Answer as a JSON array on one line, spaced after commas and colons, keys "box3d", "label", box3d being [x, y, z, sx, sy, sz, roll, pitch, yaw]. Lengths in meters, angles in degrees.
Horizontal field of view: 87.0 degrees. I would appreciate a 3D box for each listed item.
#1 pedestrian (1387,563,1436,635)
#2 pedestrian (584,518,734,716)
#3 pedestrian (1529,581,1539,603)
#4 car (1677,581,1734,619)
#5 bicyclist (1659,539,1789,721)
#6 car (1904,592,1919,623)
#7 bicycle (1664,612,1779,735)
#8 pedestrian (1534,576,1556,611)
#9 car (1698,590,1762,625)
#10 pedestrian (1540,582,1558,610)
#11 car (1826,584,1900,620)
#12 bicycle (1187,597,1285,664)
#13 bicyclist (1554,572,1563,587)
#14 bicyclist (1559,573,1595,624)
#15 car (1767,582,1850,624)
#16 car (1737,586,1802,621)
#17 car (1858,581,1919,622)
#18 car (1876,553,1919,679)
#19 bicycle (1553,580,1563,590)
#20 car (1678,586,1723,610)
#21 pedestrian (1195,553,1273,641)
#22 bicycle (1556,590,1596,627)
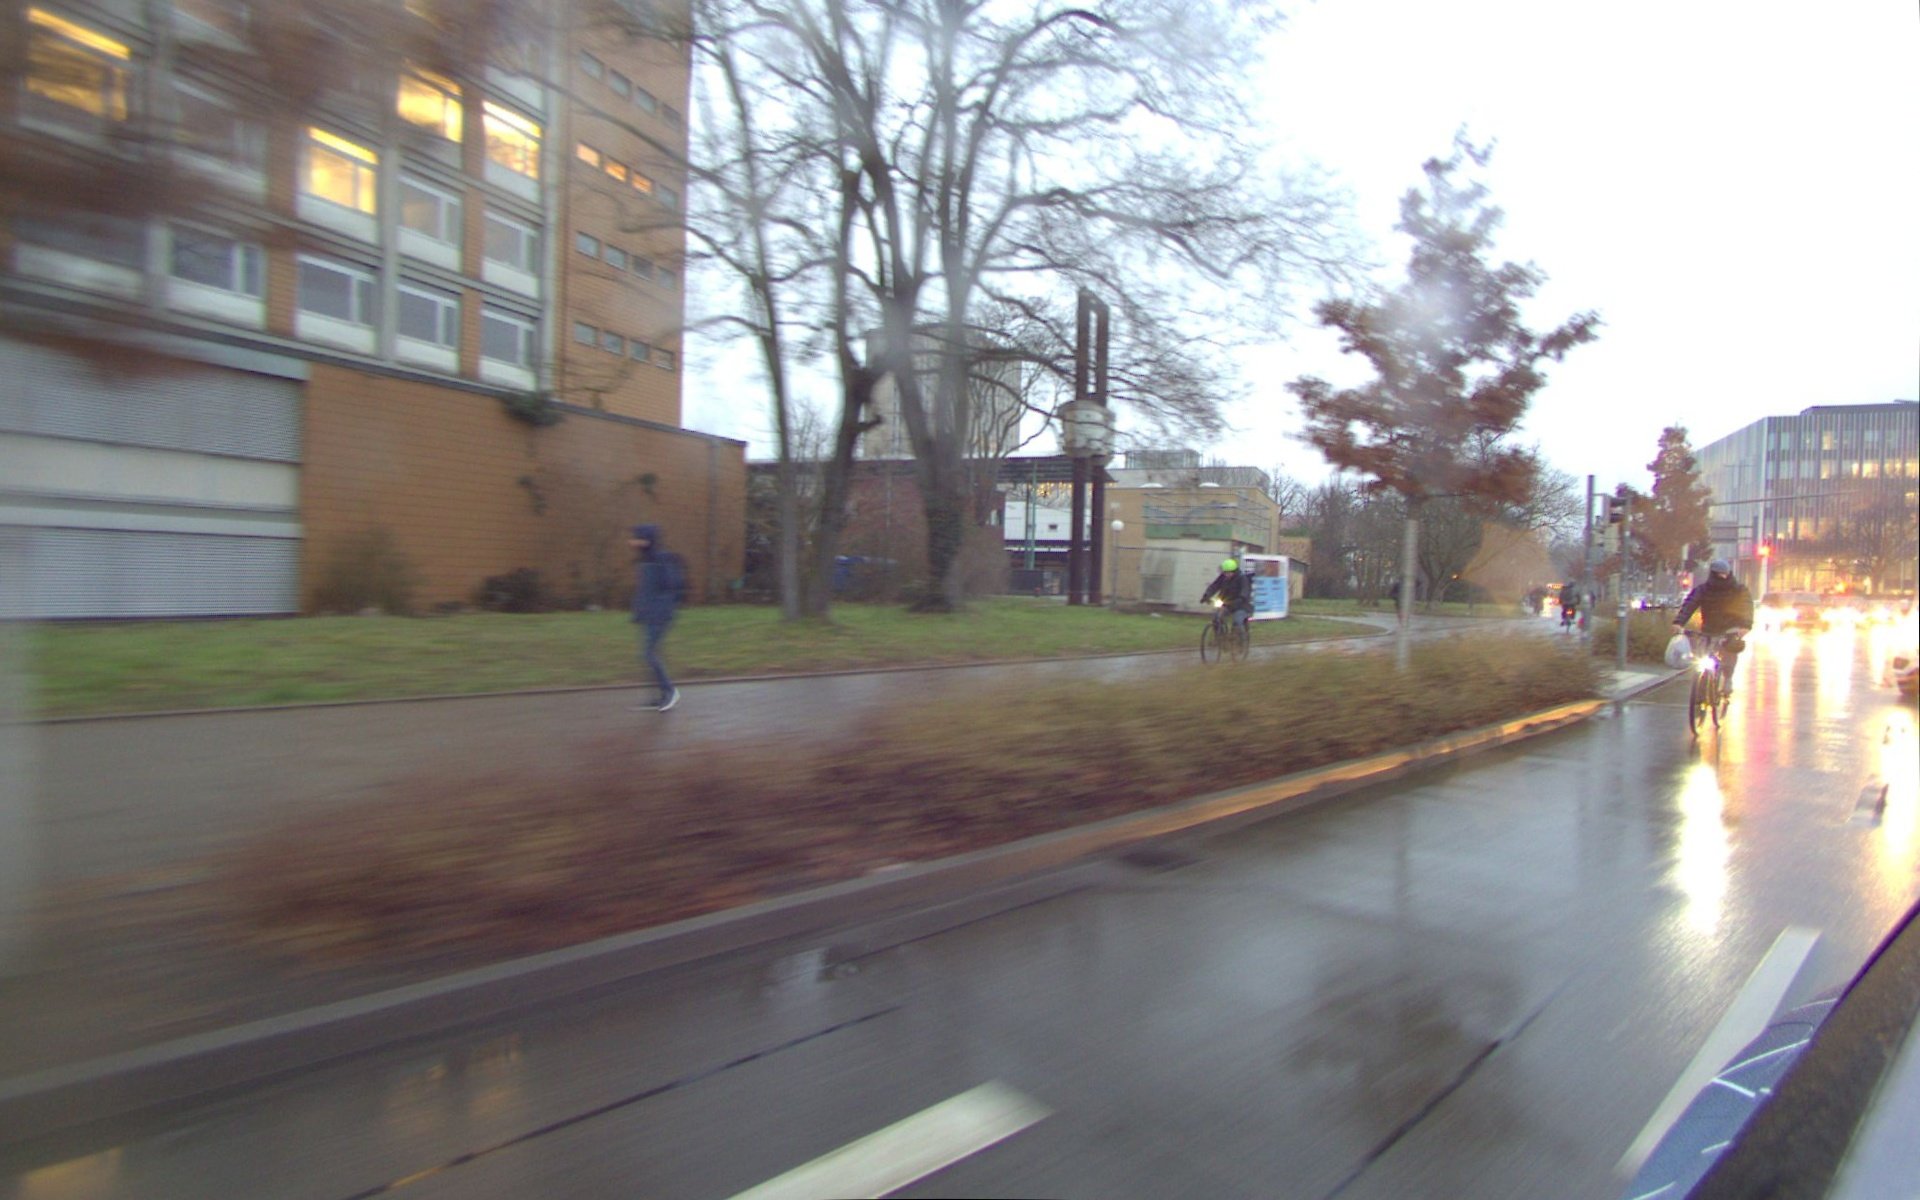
[{"box3d": [11.201, -0.029, 25.111, 0.906, 1.708, 0.917, 4, 1, 32], "label": "pedestrian"}, {"box3d": [-2.794, 0.123, 9.402, 1.053, 1.708, 0.808, 0, 3, -44], "label": "pedestrian"}, {"box3d": [53.940, -0.771, 95.130, 0.759, 2.038, 0.765, 2, 2, 28], "label": "pedestrian"}, {"box3d": [39.942, -0.026, 54.302, 1.984, 1.860, 3.957, 2, 2, 31], "label": "car"}, {"box3d": [8.608, 0.309, 11.397, 1.024, 1.907, 1.216, 1, 0, 45], "label": "bicyclist"}, {"box3d": [43.543, 0.395, 44.447, 1.915, 1.393, 4.453, 3, 2, 29], "label": "car"}, {"box3d": [8.643, 0.774, 11.453, 0.792, 1.238, 1.873, 0, 0, 45], "label": "bicycle"}, {"box3d": [31.793, -0.344, 55.002, 0.925, 1.848, 0.826, 3, 2, 29], "label": "pedestrian"}, {"box3d": [37.008, 0.331, 48.727, 1.759, 1.505, 4.426, 3, 2, 29], "label": "car"}, {"box3d": [39.356, -0.264, 67.626, 0.925, 1.848, 0.826, 3, 2, 29], "label": "pedestrian"}, {"box3d": [50.427, 0.082, 56.621, 1.983, 1.771, 4.426, 5, 3, 29], "label": "car"}, {"box3d": [4.404, 0.450, 16.026, 0.562, 0.958, 2.062, 3, 3, 44], "label": "bicycle"}, {"box3d": [60.667, -2.059, 102.577, 0.761, 1.508, 0.984, 2, 2, 30], "label": "bicyclist"}, {"box3d": [20.839, -0.060, 34.190, 0.803, 1.637, 1.070, 6, 4, 38], "label": "bicyclist"}, {"box3d": [39.865, 0.095, 47.657, 1.983, 1.771, 4.896, 3, 2, 29], "label": "car"}, {"box3d": [44.262, 0.152, 55.430, 1.983, 1.771, 4.426, 3, 2, 29], "label": "car"}, {"box3d": [47.565, 0.067, 51.202, 1.985, 1.769, 4.426, 10, 6, 28], "label": "car"}, {"box3d": [17.203, 0.368, 16.093, 4.912, 1.945, 2.142, 3, 0, -25], "label": "car"}, {"box3d": [60.643, -1.511, 102.584, 0.788, 1.028, 2.873, 2, 2, 29], "label": "bicycle"}, {"box3d": [54.821, -0.150, 75.000, 1.983, 1.586, 4.714, 4, 3, 29], "label": "car"}, {"box3d": [4.333, -0.063, 16.005, 0.875, 1.333, 0.835, 3, 2, 44], "label": "pedestrian"}, {"box3d": [20.853, 0.283, 34.235, 0.803, 1.155, 2.183, 6, 4, 38], "label": "bicycle"}]
